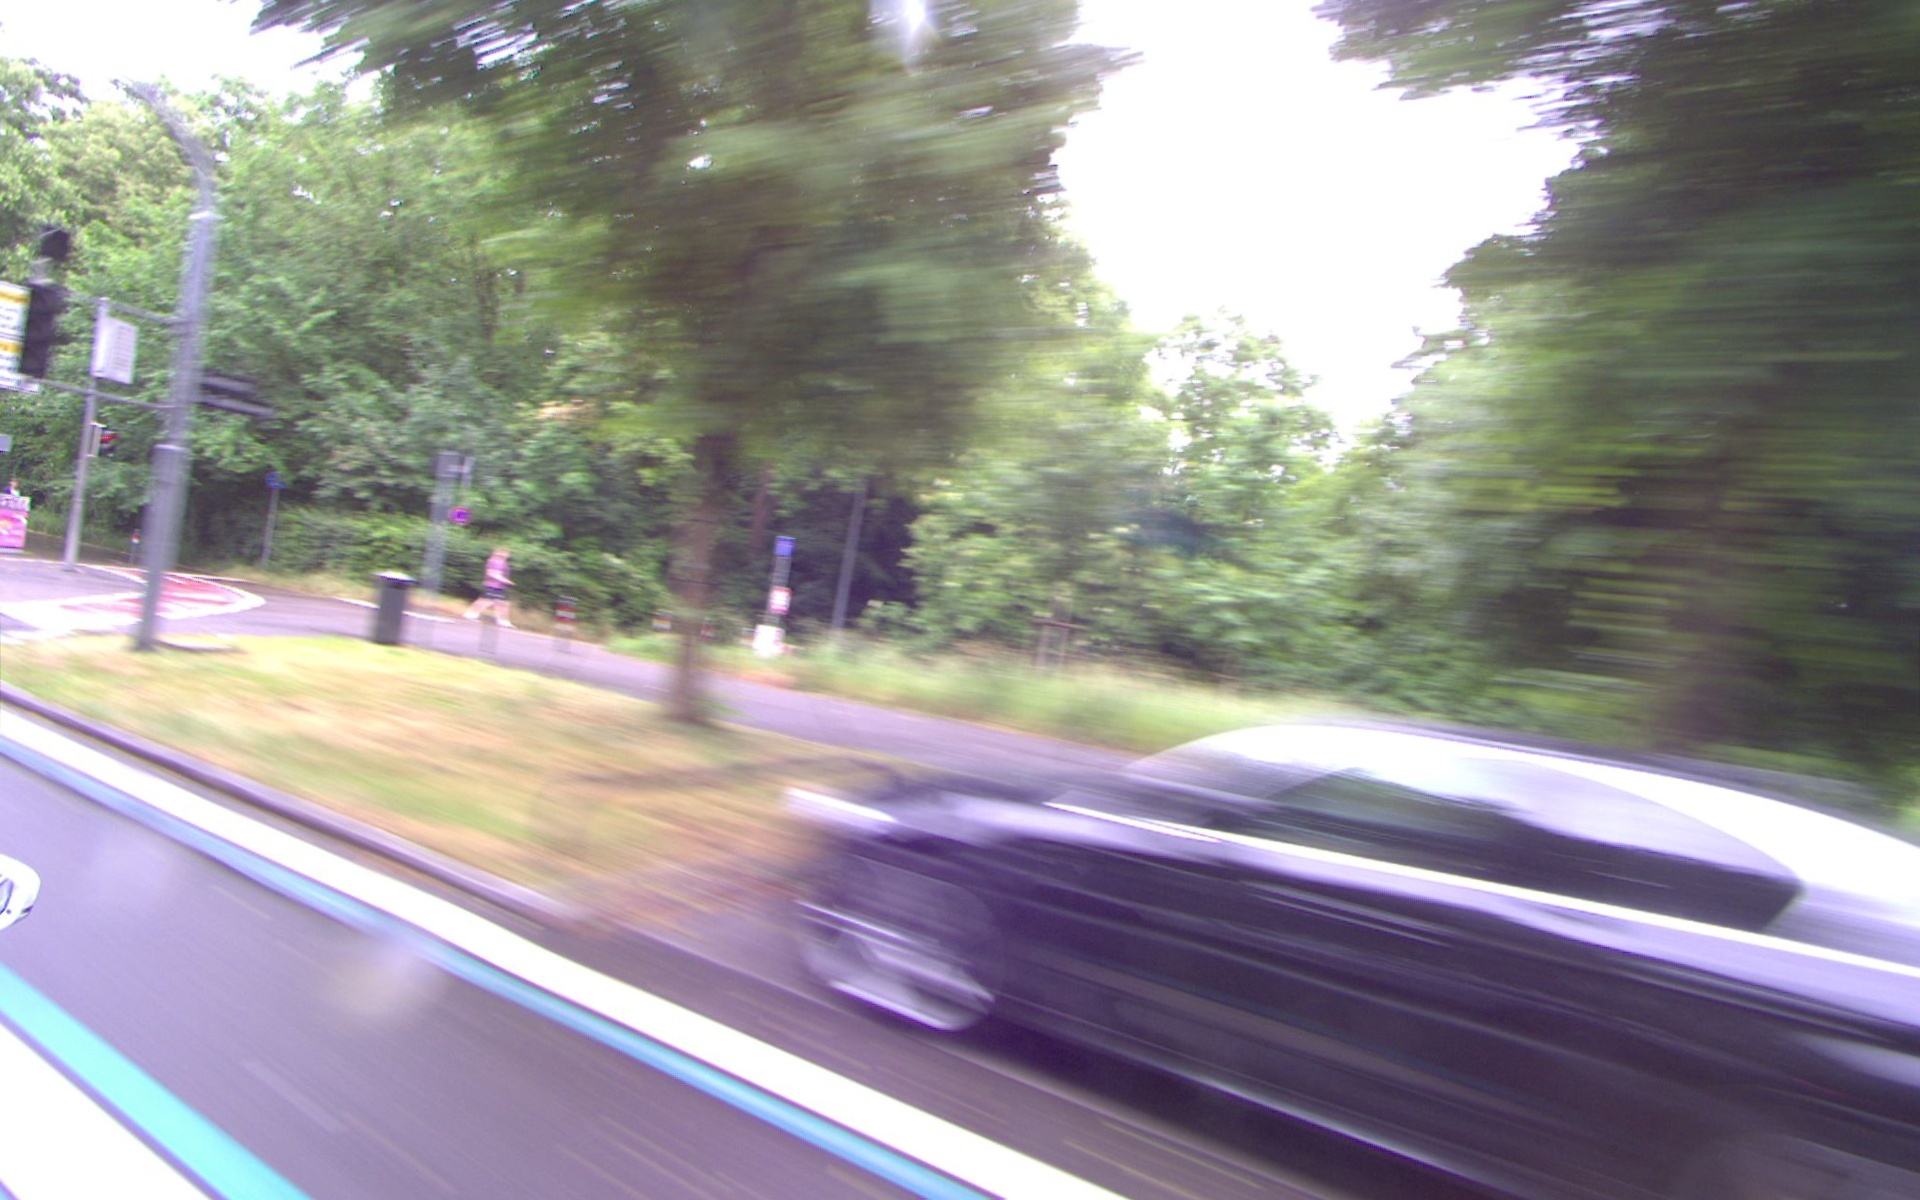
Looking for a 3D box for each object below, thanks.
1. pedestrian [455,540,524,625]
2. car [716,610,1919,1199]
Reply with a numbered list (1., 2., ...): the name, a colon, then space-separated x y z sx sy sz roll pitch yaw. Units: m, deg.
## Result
1. pedestrian: -10.833 -0.400 23.198 1.131 1.752 0.885 10 -1 -22
2. car: 1.562 1.106 3.694 4.776 1.456 1.762 7 -3 31
